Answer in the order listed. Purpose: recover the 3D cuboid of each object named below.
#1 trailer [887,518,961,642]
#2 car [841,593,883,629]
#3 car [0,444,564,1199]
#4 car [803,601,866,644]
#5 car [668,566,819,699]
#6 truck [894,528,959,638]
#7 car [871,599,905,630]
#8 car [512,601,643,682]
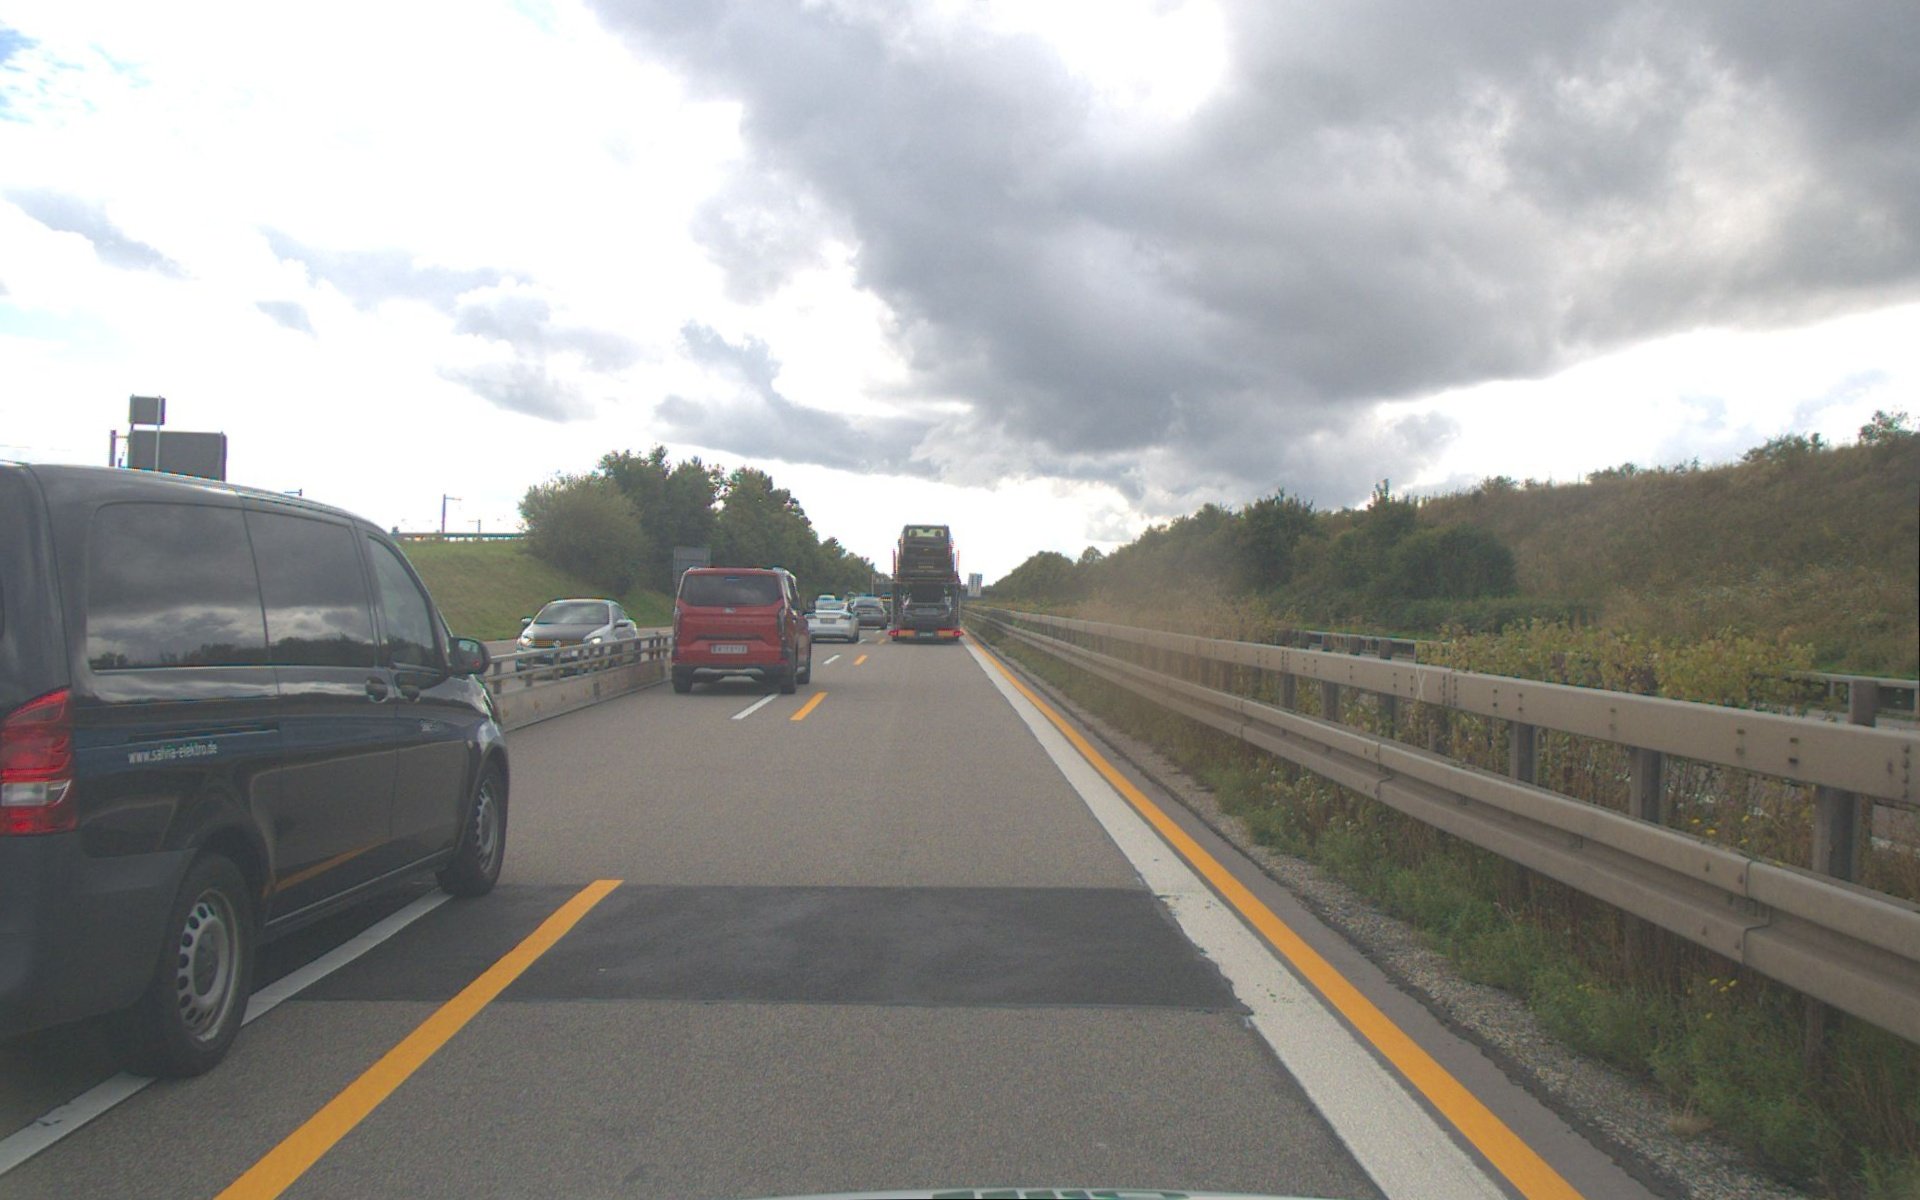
[{"bbox_3d":[-1.266,-0.660,61.552,2.464,4.177,11.111,1,0,0],"label":"trailer"},{"bbox_3d":[-4.910,0.546,83.518,1.990,1.788,4.576,0,0,-2],"label":"car"},{"bbox_3d":[-3.211,0.574,6.694,1.953,1.875,5.608,0,0,-1],"label":"car"},{"bbox_3d":[-4.392,0.753,58.349,1.990,1.456,4.576,0,0,-2],"label":"car"},{"bbox_3d":[-3.518,0.501,27.714,1.990,2.049,4.577,0,0,-1],"label":"car"},{"bbox_3d":[-1.308,-0.642,66.376,2.464,4.177,5.684,1,0,0],"label":"truck"},{"bbox_3d":[-4.266,0.835,98.321,1.990,1.788,4.576,0,0,-2],"label":"car"},{"bbox_3d":[-7.185,0.740,31.426,1.722,1.412,3.998,1,0,-3],"label":"car"}]
